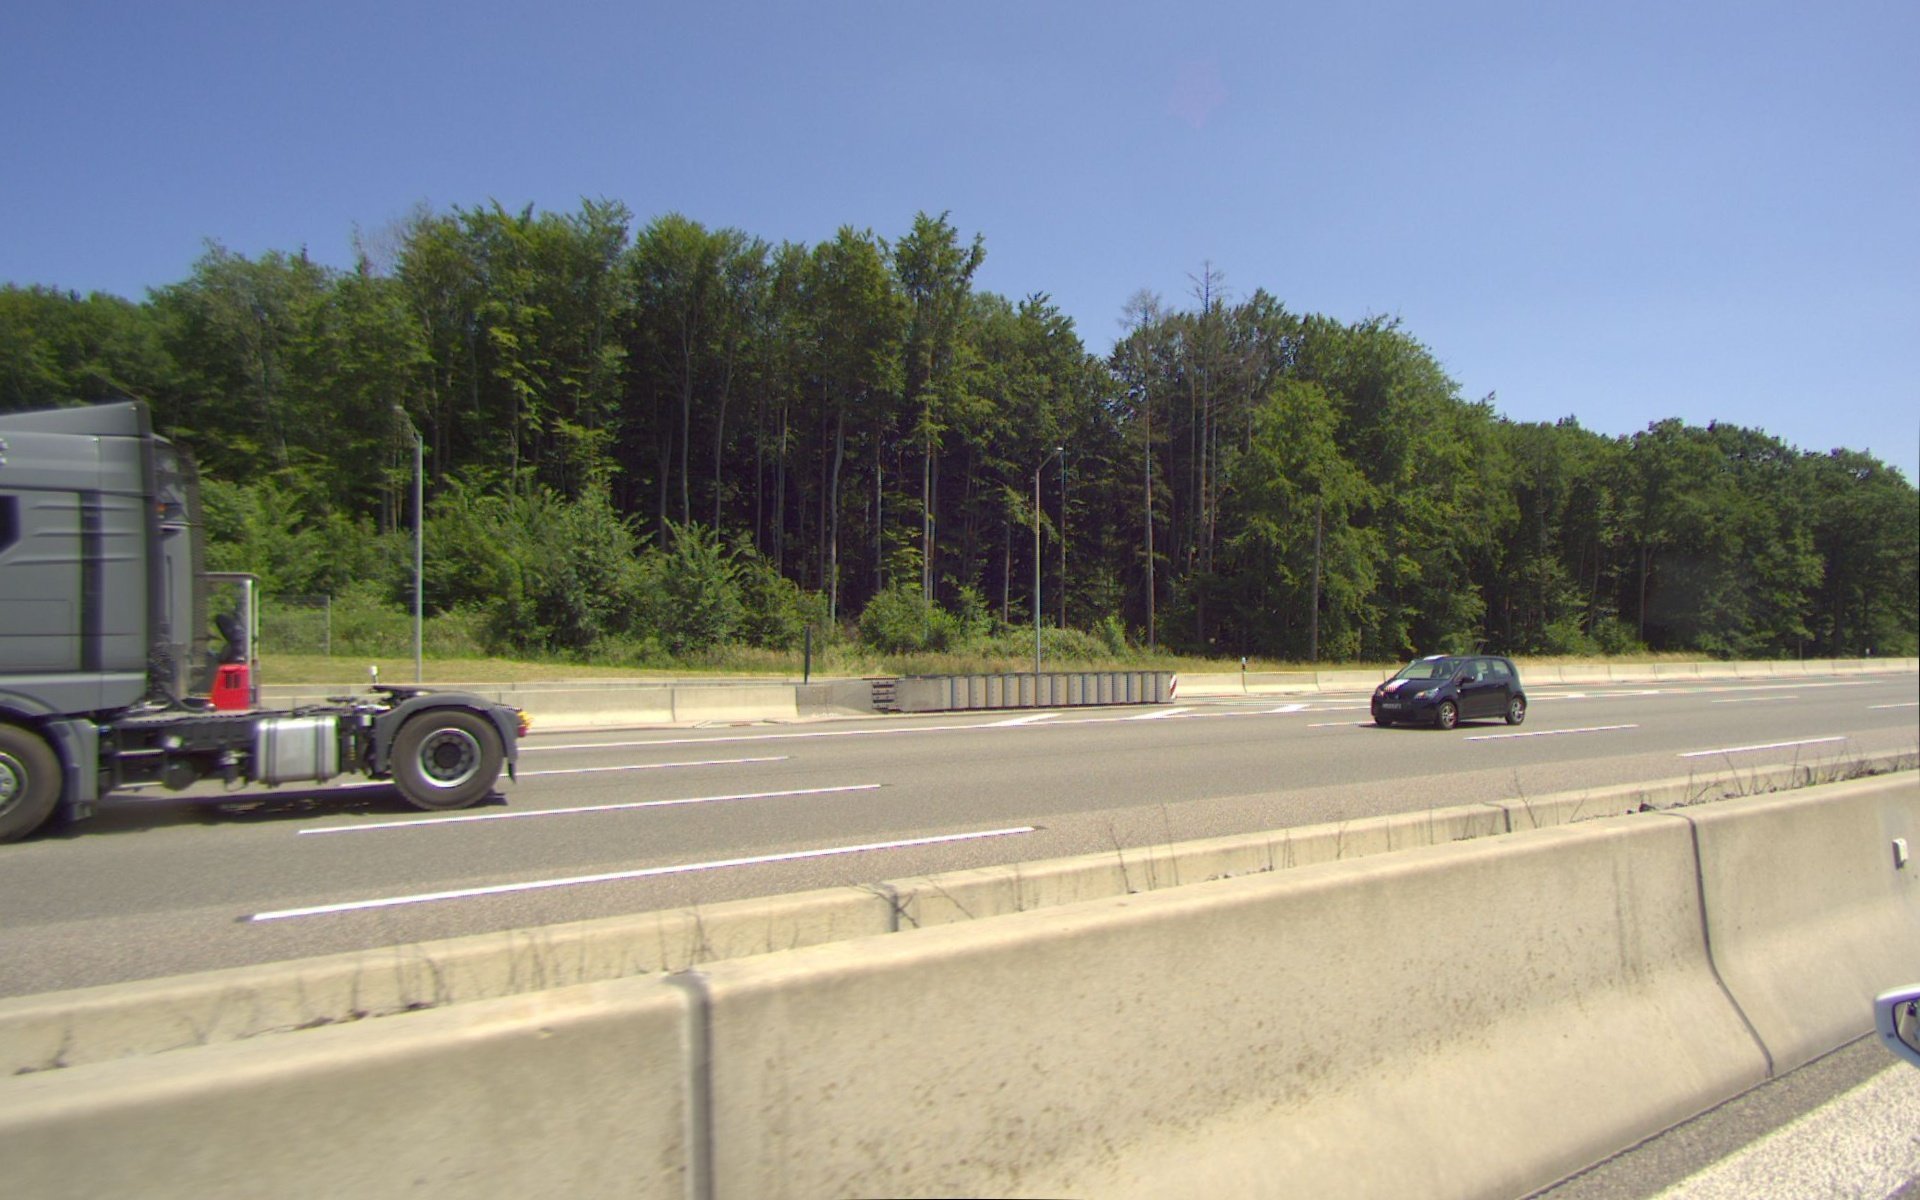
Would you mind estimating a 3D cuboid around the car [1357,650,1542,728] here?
[{"bbox_3d":[10.412,1.841,21.341,3.770,1.505,1.745,1,-4,-31],"label":"car"}]

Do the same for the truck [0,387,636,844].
[{"bbox_3d":[-7.254,0.211,10.602,6.935,3.891,2.566,1,-3,-30],"label":"truck"}]

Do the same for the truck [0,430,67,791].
[{"bbox_3d":[-16.361,0.061,10.152,10.469,4.252,2.822,1,-2,-30],"label":"truck"}]
